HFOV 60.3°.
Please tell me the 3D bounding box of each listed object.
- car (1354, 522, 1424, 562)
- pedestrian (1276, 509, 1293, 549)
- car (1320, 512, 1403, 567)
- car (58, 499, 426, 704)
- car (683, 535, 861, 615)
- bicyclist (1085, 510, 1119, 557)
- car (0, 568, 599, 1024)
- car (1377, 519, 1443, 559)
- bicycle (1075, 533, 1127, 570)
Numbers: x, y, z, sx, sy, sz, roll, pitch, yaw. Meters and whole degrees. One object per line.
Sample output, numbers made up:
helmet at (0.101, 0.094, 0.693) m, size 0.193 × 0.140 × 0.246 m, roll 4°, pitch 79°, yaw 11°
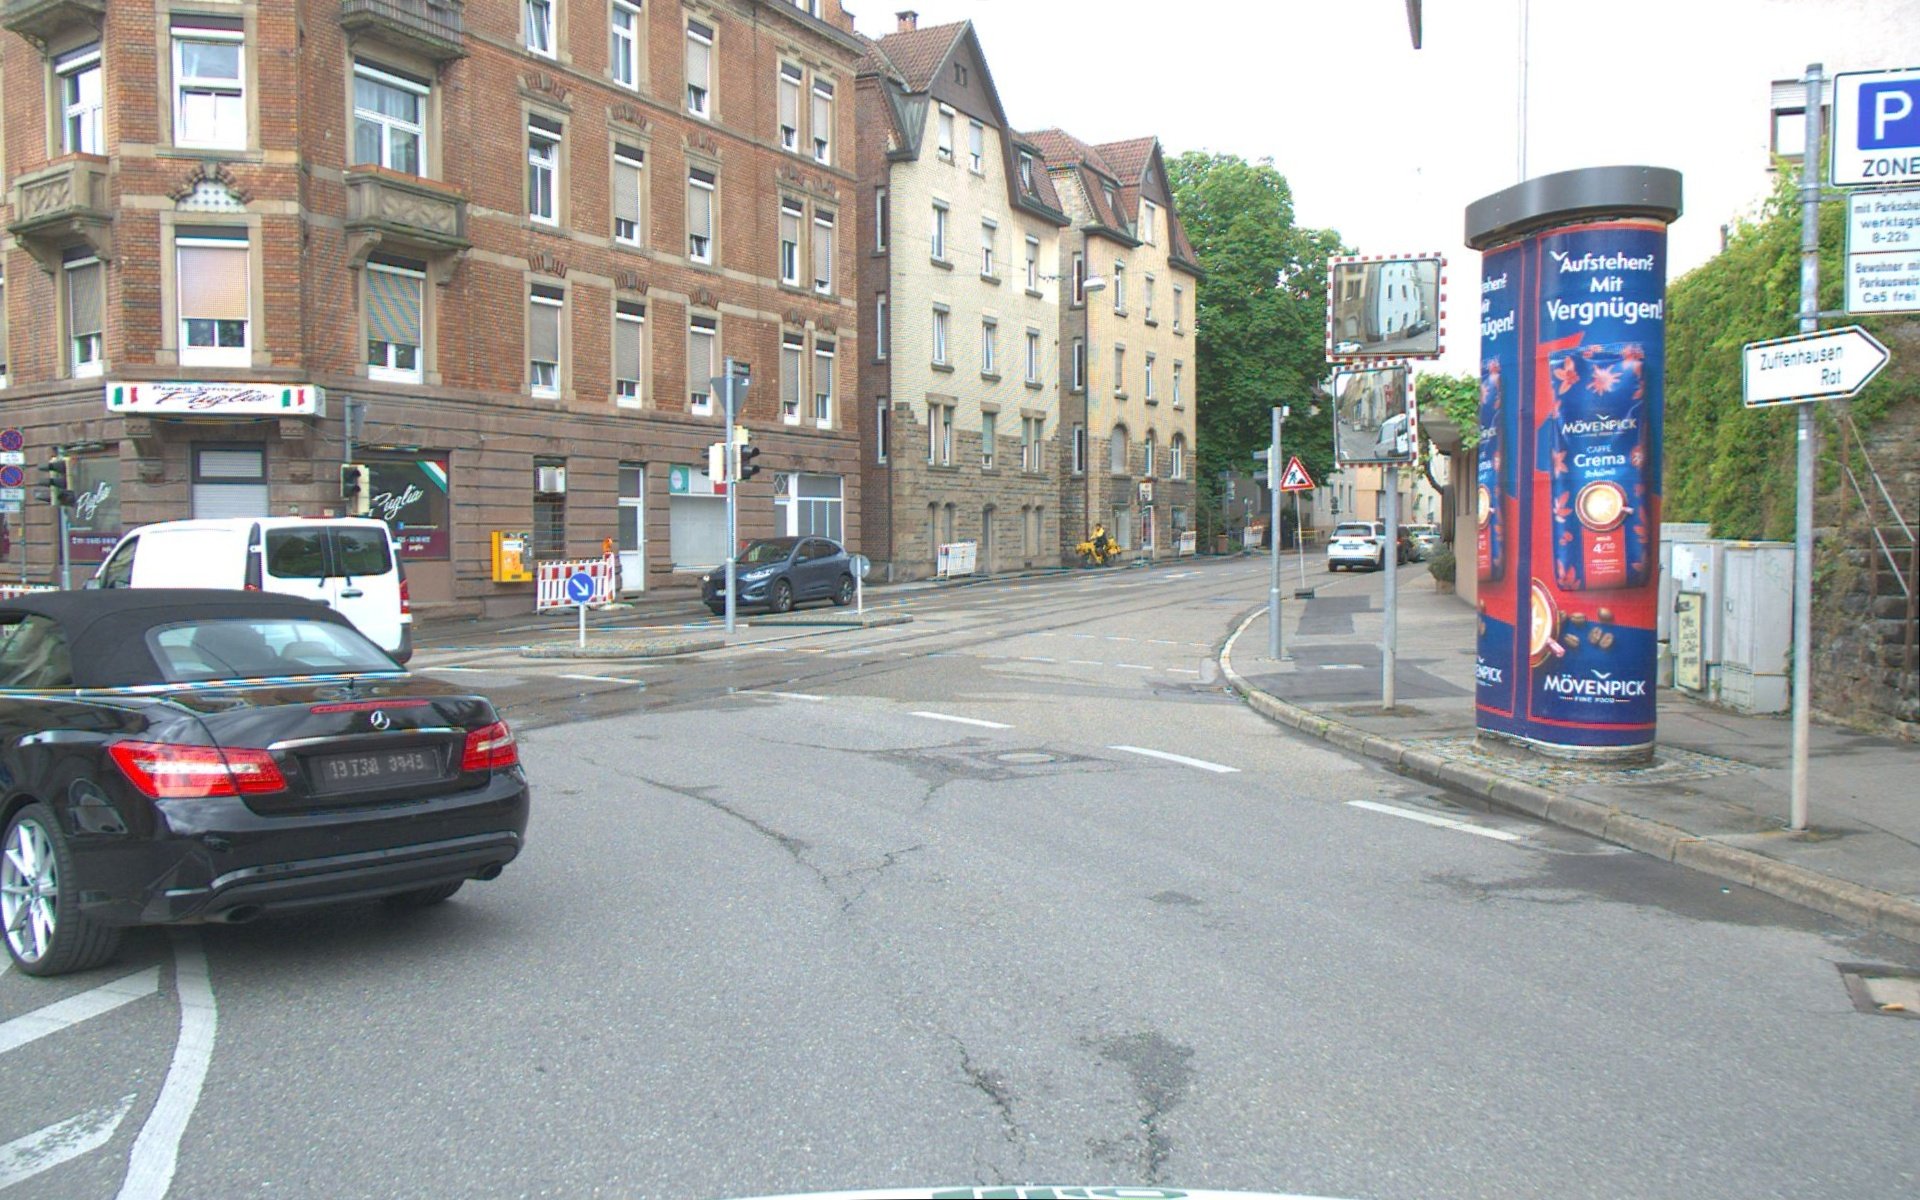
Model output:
car at (15.952, -2.163, 61.403) m, size 1.953 × 1.310 × 4.000 m, roll -3°, pitch 1°, yaw 22°
pedestrian at (16.991, -3.698, 86.577) m, size 0.748 × 2.048 × 0.754 m, roll -1°, pitch 1°, yaw 21°
car at (13.726, -2.058, 56.414) m, size 1.911 × 1.748 × 3.997 m, roll -2°, pitch 1°, yaw 26°
car at (-7.955, 0.048, 18.125) m, size 4.561 × 1.962 × 1.887 m, roll -3°, pitch 1°, yaw 42°
car at (-4.165, -0.606, 37.340) m, size 1.954 × 1.541 × 4.283 m, roll -3°, pitch 2°, yaw 26°
bicyclist at (5.524, -2.597, 64.365) m, size 0.929 × 1.732 × 0.781 m, roll -3°, pitch 1°, yaw 42°
car at (-3.704, 0.703, 7.495) m, size 4.317 × 1.433 × 1.758 m, roll -3°, pitch 1°, yaw 41°
car at (18.150, -2.456, 66.600) m, size 1.775 × 1.488 × 3.996 m, roll -2°, pitch 1°, yaw 27°
bicycle at (5.498, -1.893, 64.345) m, size 0.621 × 1.329 × 2.587 m, roll -3°, pitch 1°, yaw 39°
